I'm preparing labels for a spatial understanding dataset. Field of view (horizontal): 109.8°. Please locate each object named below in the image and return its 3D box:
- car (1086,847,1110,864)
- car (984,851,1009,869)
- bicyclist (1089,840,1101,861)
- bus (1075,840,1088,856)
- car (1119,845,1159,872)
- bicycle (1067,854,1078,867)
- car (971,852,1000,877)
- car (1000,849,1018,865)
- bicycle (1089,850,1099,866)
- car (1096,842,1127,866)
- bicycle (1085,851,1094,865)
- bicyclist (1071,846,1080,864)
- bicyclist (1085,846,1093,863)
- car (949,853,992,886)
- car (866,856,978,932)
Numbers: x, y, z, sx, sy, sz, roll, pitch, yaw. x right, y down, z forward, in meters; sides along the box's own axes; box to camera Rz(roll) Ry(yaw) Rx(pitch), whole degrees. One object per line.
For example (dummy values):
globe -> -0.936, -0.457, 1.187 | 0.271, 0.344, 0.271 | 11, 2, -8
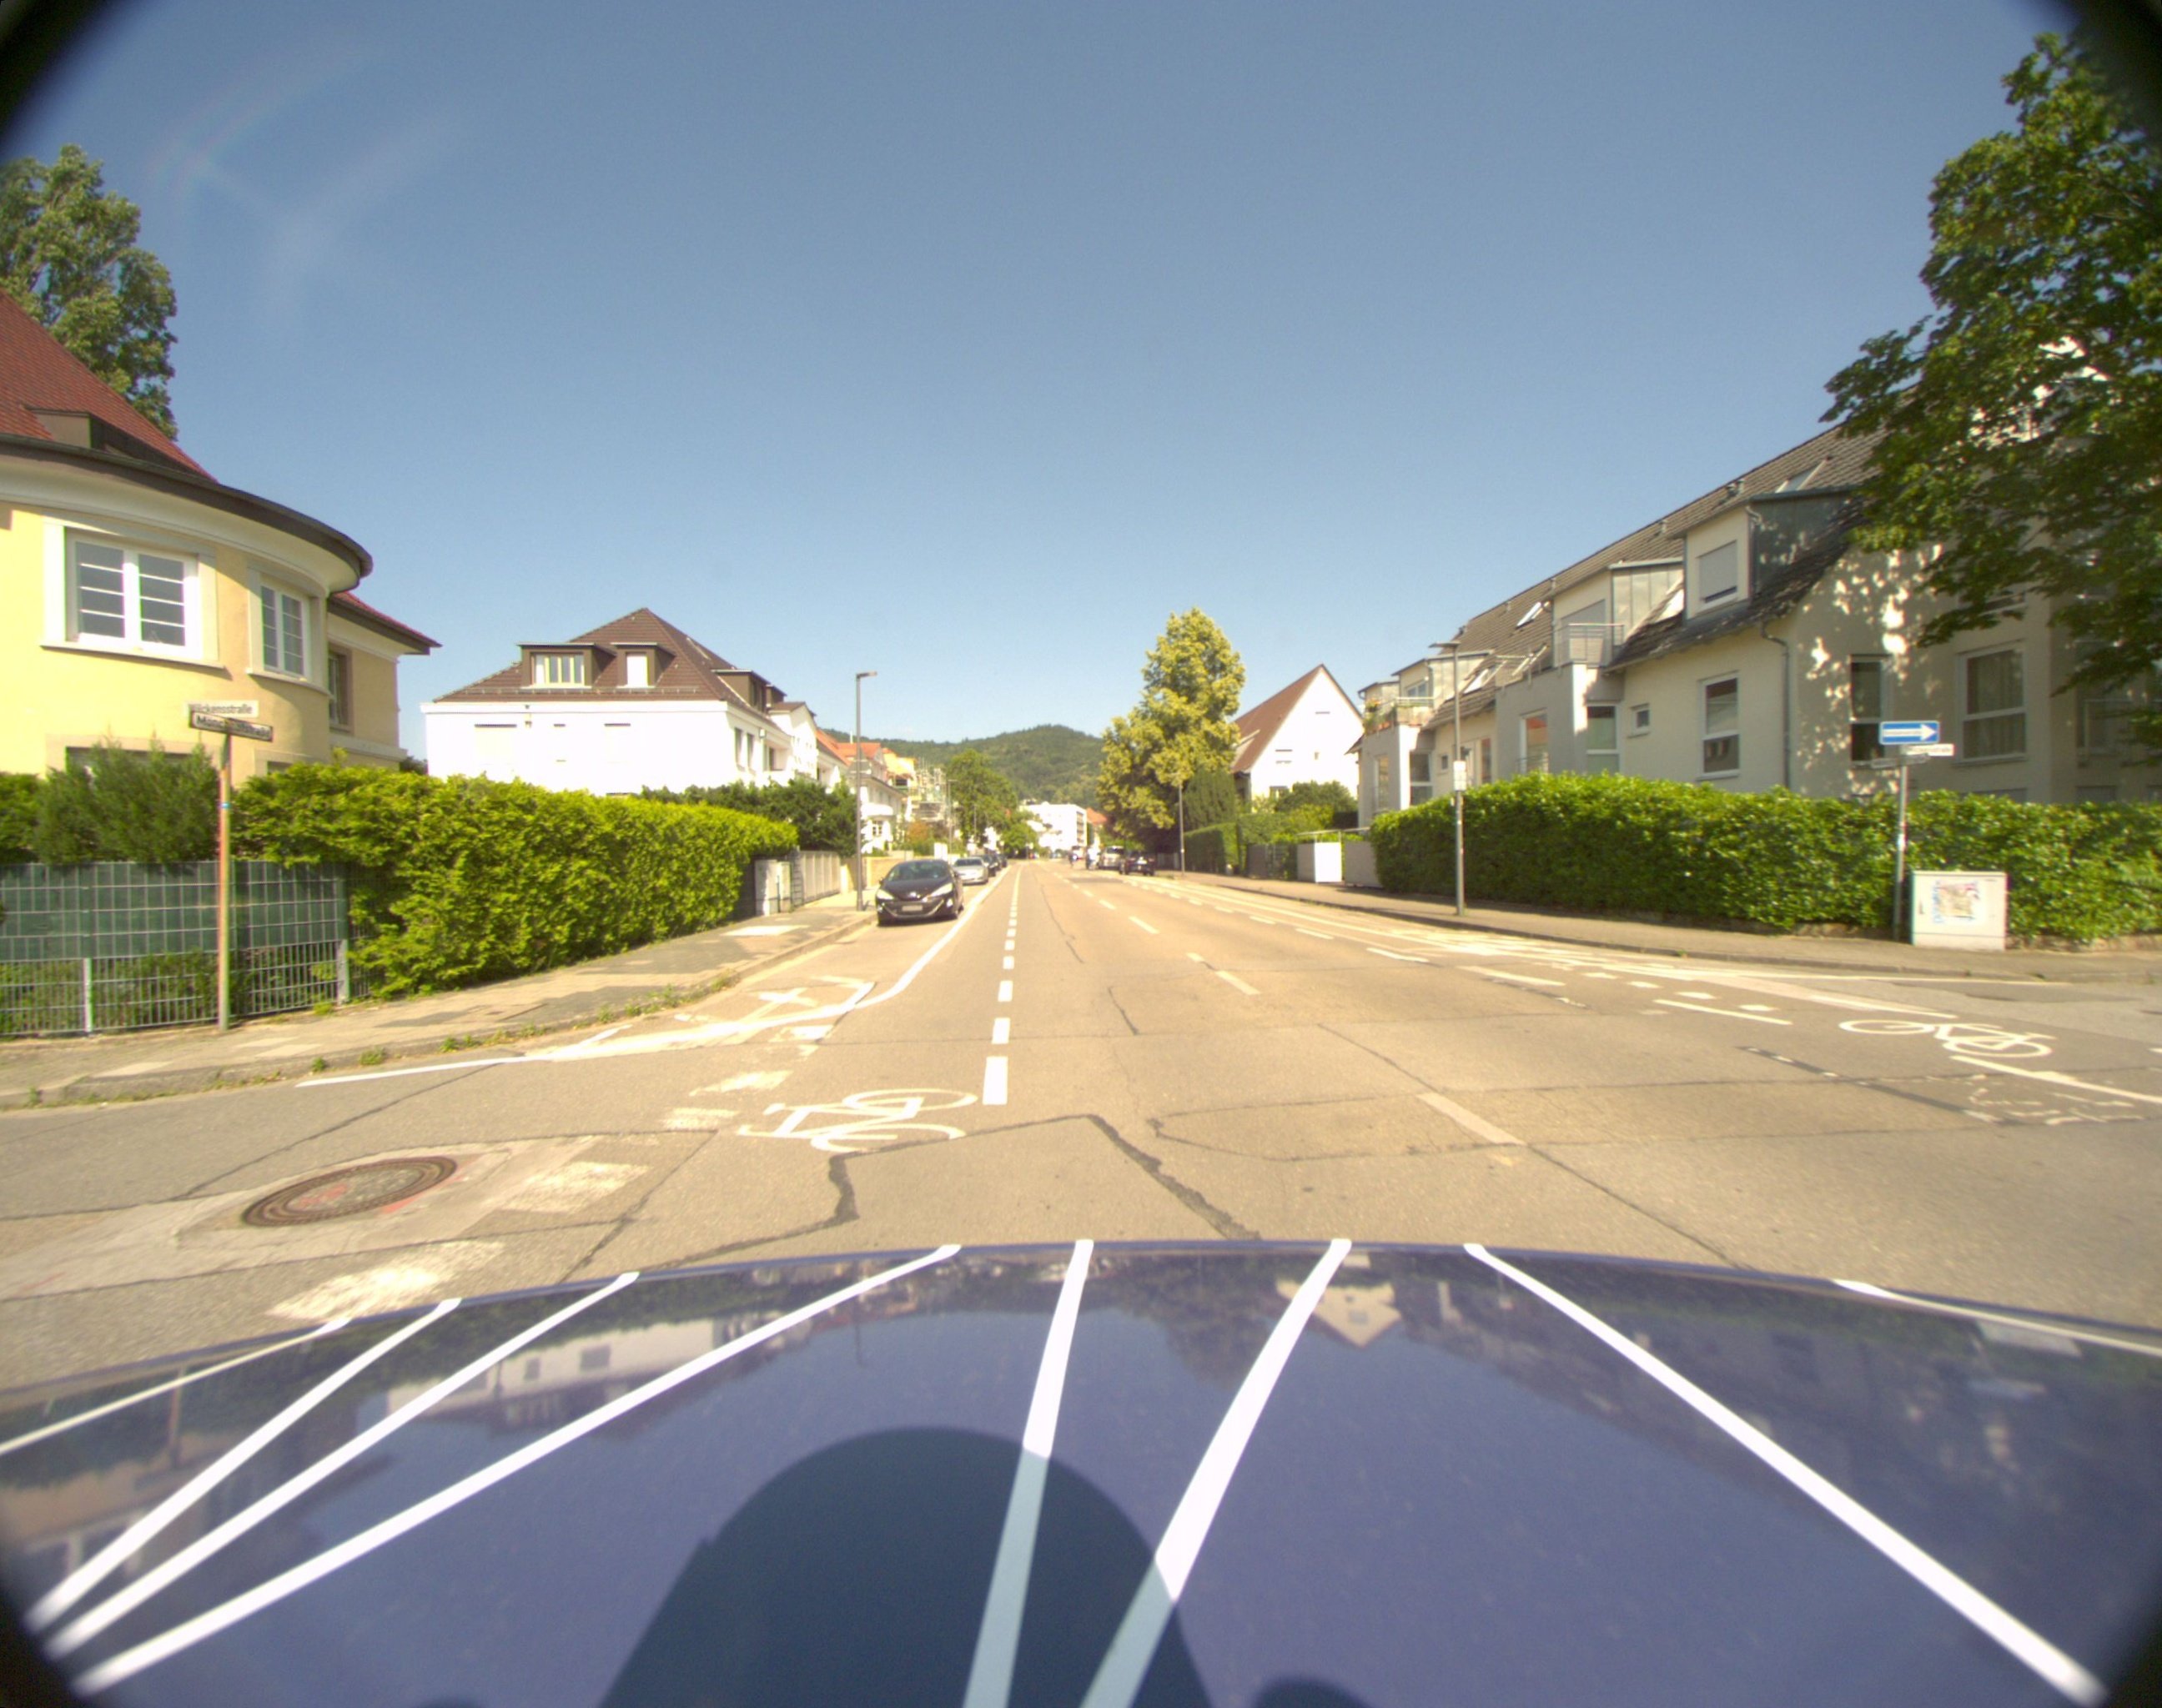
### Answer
car -> 1.597, 0.120, 71.821 | 1.839, 1.477, 4.559 | 0, 1, -4
car -> -7.227, 0.473, 65.633 | 1.623, 1.441, 4.000 | -1, 1, 1
bicyclist -> 1.065, -0.269, 57.066 | 0.678, 1.571, 0.859 | 4, 1, -4
bus -> 0.066, -1.279, 160.060 | 2.752, 3.156, 9.777 | 1, 0, 0
car -> 3.639, 0.259, 48.469 | 1.856, 1.601, 4.445 | 0, 1, -5
bicycle -> -0.774, 0.568, 69.016 | 0.785, 1.159, 2.419 | 1, 1, -4
car -> -6.157, 0.641, 49.307 | 1.727, 1.441, 4.166 | -4, 1, -6
car -> -7.620, 0.326, 79.821 | 1.701, 1.573, 4.897 | -2, 1, -7
bicycle -> 0.999, 0.320, 57.339 | 0.561, 1.178, 2.035 | 1, 0, -4
car -> 2.408, -0.005, 61.861 | 1.890, 1.908, 4.865 | 0, 1, -5
bicycle -> 0.673, 0.298, 62.796 | 0.602, 1.099, 1.345 | 1, 1, -4
bicyclist -> -0.523, 0.102, 69.705 | 0.751, 1.658, 1.021 | 1, 1, -4
bicyclist -> 0.666, 0.029, 62.788 | 0.492, 1.445, 0.964 | 1, 1, -4
car -> -5.350, 0.727, 37.254 | 1.742, 1.321, 4.073 | -4, 2, -4
car -> -3.705, 0.869, 18.475 | 1.741, 1.460, 4.344 | -5, 1, -1
